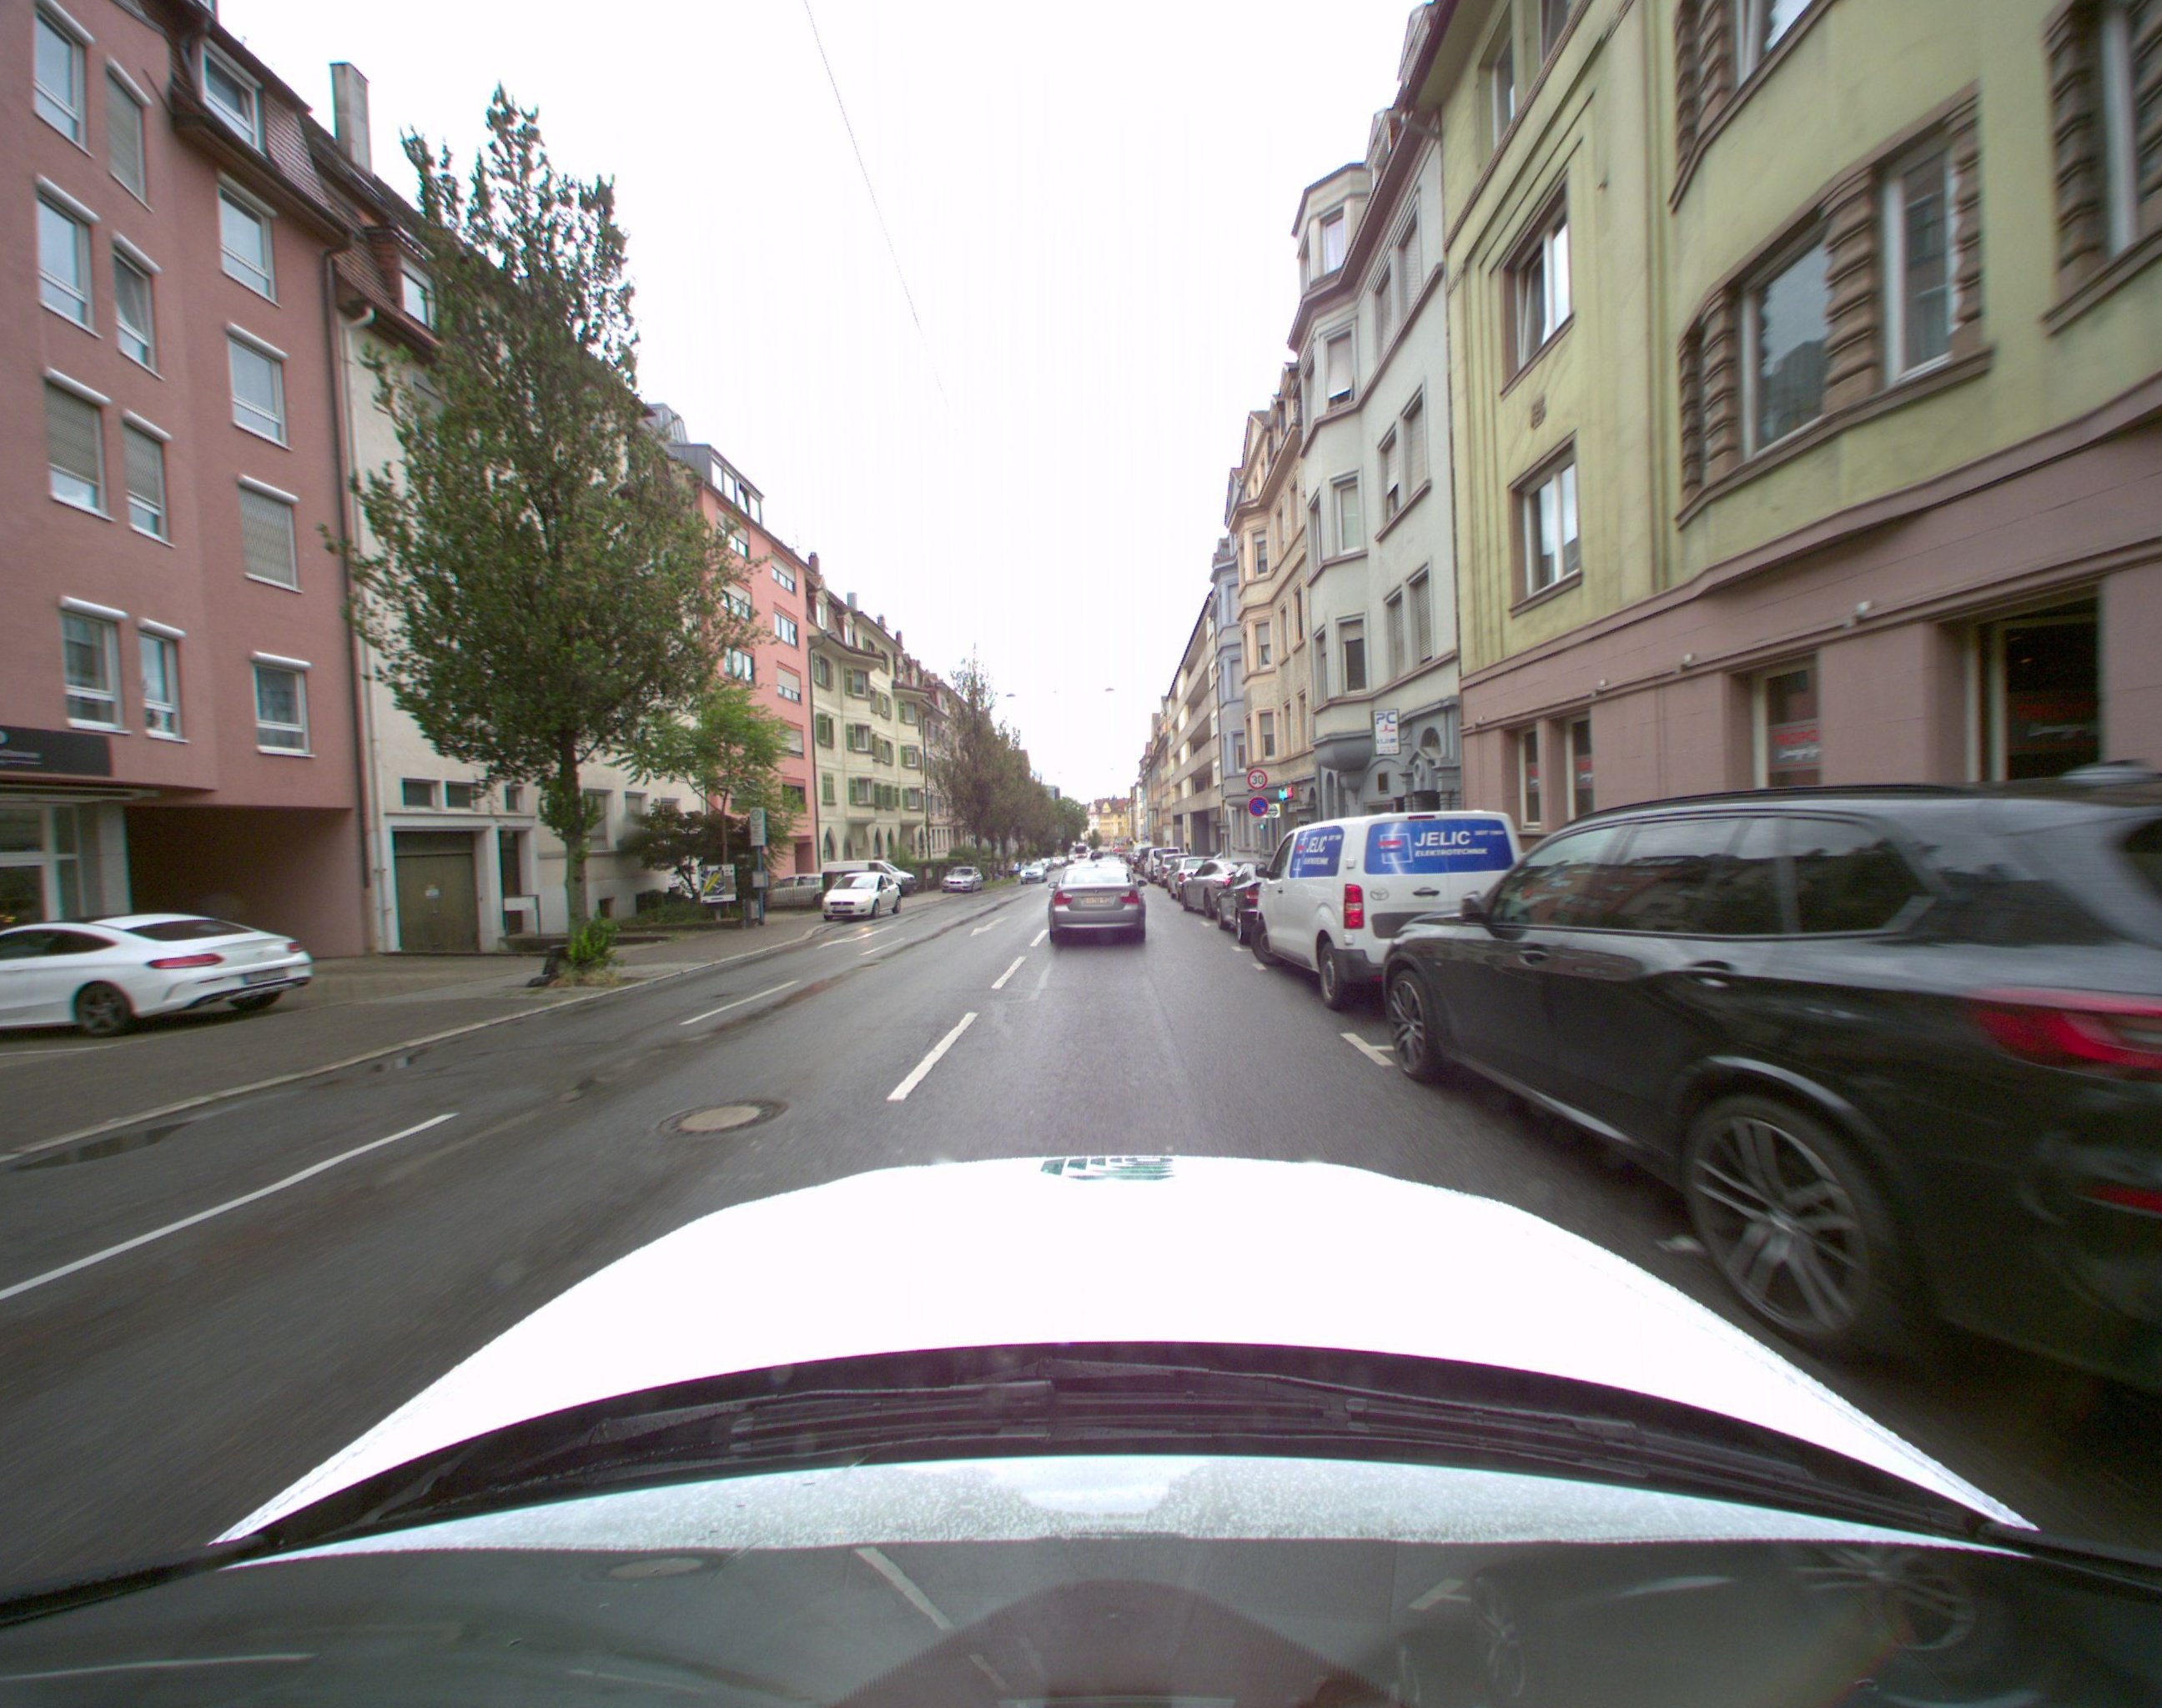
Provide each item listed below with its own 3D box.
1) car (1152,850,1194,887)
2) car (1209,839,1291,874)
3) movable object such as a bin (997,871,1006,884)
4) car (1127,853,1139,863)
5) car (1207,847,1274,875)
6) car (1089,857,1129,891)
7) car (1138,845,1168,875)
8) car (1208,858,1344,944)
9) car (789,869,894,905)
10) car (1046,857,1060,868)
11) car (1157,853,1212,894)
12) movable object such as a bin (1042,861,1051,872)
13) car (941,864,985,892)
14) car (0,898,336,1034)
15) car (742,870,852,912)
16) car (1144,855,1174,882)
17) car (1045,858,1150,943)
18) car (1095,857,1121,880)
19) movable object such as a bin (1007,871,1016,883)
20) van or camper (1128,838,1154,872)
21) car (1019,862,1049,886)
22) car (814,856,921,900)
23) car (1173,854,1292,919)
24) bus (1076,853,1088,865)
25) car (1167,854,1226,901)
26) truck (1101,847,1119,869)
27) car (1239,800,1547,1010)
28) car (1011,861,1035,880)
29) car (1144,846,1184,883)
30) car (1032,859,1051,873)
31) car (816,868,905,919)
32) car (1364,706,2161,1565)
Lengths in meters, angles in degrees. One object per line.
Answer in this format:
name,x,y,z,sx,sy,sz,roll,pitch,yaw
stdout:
car,4.662,0.721,41.638,1.719,1.670,4.290,-4,-1,2
car,9.715,0.116,46.802,4.289,1.804,2.017,-2,1,19
movable object such as a bin,-6.111,1.811,62.791,0.575,0.912,0.637,-3,-1,-12
car,7.714,0.586,121.043,1.691,1.483,3.976,0,-1,1
car,10.724,0.456,54.776,4.255,1.640,1.673,-2,1,14
car,1.290,0.874,36.167,1.675,1.428,3.744,0,-1,3
car,5.499,0.474,63.016,1.974,2.166,4.752,-3,-1,2
car,3.507,0.775,15.395,1.671,1.375,4.278,-1,0,2
car,-11.383,1.554,38.883,4.418,1.451,1.791,-3,-1,-1
car,-4.017,1.199,117.198,1.684,1.523,3.739,-4,0,3
car,4.307,0.785,34.624,1.892,1.478,4.802,-5,-1,3
movable object such as a bin,-3.797,1.402,89.189,0.931,1.168,0.910,-1,0,2
car,-6.715,1.342,46.607,1.719,1.484,3.992,0,-1,3
car,-12.665,1.416,10.461,4.531,1.401,1.768,-3,0,1
car,-11.547,1.504,33.332,3.876,1.457,1.788,-3,-1,-6
car,5.303,0.959,55.918,1.719,1.670,4.290,-3,-1,2
car,0.232,0.810,15.640,1.764,1.428,3.738,0,-1,-2
car,1.810,0.985,54.614,1.691,1.483,3.794,0,-1,1
movable object such as a bin,-5.386,1.792,62.938,0.575,0.912,0.637,-3,-1,-12
van or camper,5.456,0.057,73.559,2.023,2.869,6.896,-2,0,6
car,-3.302,1.393,57.809,1.630,1.508,3.756,-5,-1,2
car,-10.840,1.204,41.568,4.811,1.974,2.049,-3,-1,1
car,3.736,0.762,21.002,1.872,1.467,4.767,0,-1,-4
bus,0.350,1.244,204.411,2.658,3.024,7.674,-3,-1,2
car,3.924,0.774,28.190,1.605,1.475,4.017,-1,0,2
truck,3.286,0.513,92.961,2.024,2.412,4.828,0,-1,1
car,3.330,0.484,9.932,1.912,1.827,5.011,-3,-1,2
car,-5.282,1.497,74.708,1.760,1.594,4.000,-4,0,1
car,4.890,0.626,48.347,1.974,2.007,4.627,-3,-1,2
car,-4.644,1.382,96.932,1.820,1.523,3.739,-4,0,3
car,-7.211,1.246,26.983,1.614,1.446,4.008,-2,0,3
car,3.051,0.577,3.970,1.871,1.731,4.679,0,0,2
